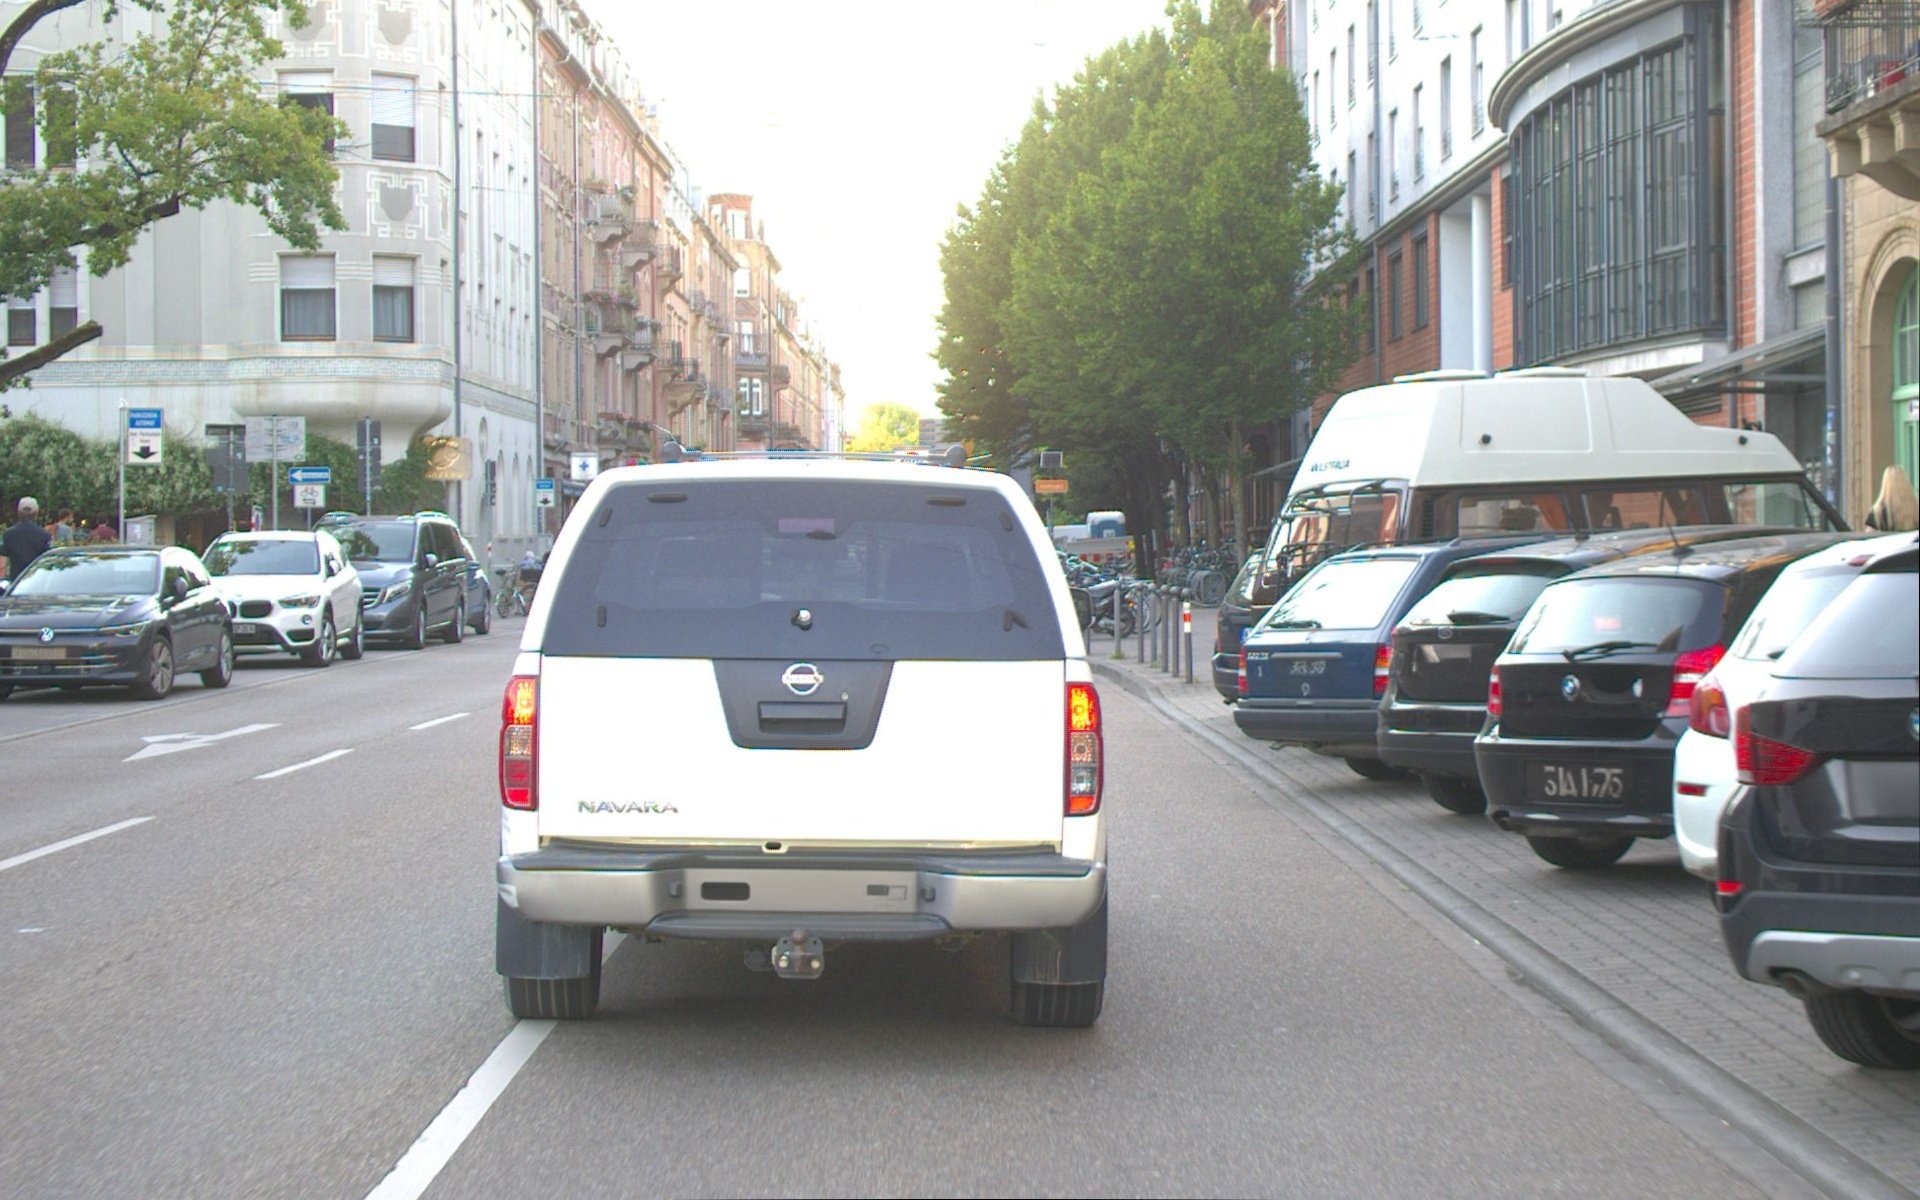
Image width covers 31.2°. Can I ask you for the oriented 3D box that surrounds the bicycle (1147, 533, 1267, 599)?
[{"bbox_3d":[5.269,-0.727,73.331,2.534,1.375,0.599,0,1,3],"label":"bicycle"}]

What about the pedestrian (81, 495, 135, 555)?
[{"bbox_3d":[-14.179,-1.248,57.221,0.706,0.977,0.837,-1,1,-2],"label":"pedestrian"}]

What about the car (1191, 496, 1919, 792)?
[{"bbox_3d":[3.778,0.211,21.026,4.384,1.481,1.844,-4,2,-30],"label":"car"}]

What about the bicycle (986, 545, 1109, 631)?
[{"bbox_3d":[1.260,-0.181,49.649,1.707,1.172,0.472,-2,1,-1],"label":"bicycle"}]

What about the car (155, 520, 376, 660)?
[{"bbox_3d":[-8.319,-0.152,41.549,1.871,1.586,4.469,0,1,-2],"label":"car"}]

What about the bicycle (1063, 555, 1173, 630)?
[{"bbox_3d":[2.302,-0.113,50.158,1.539,1.035,0.472,-2,1,-1],"label":"bicycle"}]

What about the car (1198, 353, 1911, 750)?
[{"bbox_3d":[4.171,-0.340,23.944,4.710,2.538,1.918,-1,0,-29],"label":"car"}]

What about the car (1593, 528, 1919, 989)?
[{"bbox_3d":[4.468,0.441,12.845,4.045,1.493,1.754,-3,1,-35],"label":"car"}]

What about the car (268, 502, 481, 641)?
[{"bbox_3d":[-8.204,-0.436,48.667,1.993,1.860,5.289,0,1,1],"label":"car"}]

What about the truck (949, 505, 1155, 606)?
[{"bbox_3d":[2.877,-1.370,107.102,6.320,2.966,2.264,1,-2,2],"label":"truck"}]

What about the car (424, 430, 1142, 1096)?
[{"bbox_3d":[-0.517,0.414,11.803,1.933,1.788,4.622,2,1,-1],"label":"car"}]

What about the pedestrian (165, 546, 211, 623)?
[{"bbox_3d":[-14.835,-0.297,66.071,0.701,1.464,0.784,-1,1,-1],"label":"pedestrian"}]

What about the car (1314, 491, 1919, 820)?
[{"bbox_3d":[4.132,0.252,18.297,4.108,1.540,1.795,-2,-1,-28],"label":"car"}]

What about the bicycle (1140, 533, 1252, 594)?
[{"bbox_3d":[5.367,-0.827,78.330,2.534,1.375,0.599,0,1,3],"label":"bicycle"}]

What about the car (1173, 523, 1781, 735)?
[{"bbox_3d":[3.998,0.175,26.476,4.342,1.497,1.913,-1,1,-28],"label":"car"}]

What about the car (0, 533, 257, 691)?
[{"bbox_3d":[-8.239,0.072,33.540,1.783,1.430,4.316,0,1,1],"label":"car"}]

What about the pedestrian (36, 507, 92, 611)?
[{"bbox_3d":[-14.906,-0.682,57.206,0.706,1.715,0.837,-1,1,-2],"label":"pedestrian"}]

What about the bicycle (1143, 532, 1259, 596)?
[{"bbox_3d":[5.333,-0.798,76.145,2.534,1.375,0.599,0,1,3],"label":"bicycle"}]

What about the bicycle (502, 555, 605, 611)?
[{"bbox_3d":[-8.232,-0.350,69.600,2.113,1.091,0.500,1,2,25],"label":"bicycle"}]

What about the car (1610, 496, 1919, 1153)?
[{"bbox_3d":[3.925,0.454,9.641,4.087,1.602,1.816,-3,1,-38],"label":"car"}]

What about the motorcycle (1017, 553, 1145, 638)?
[{"bbox_3d":[1.687,-0.073,47.862,1.644,1.098,0.647,-3,1,-8],"label":"motorcycle"}]

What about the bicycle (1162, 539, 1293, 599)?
[{"bbox_3d":[5.264,-0.615,67.729,2.534,1.162,0.562,0,1,3],"label":"bicycle"}]

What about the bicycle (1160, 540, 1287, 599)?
[{"bbox_3d":[5.331,-0.619,69.612,2.534,1.162,0.562,0,1,3],"label":"bicycle"}]

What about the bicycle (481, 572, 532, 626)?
[{"bbox_3d":[-9.026,-0.029,68.489,0.423,1.009,1.717,1,2,14],"label":"bicycle"}]

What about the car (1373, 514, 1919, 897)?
[{"bbox_3d":[4.022,0.355,15.362,4.022,1.427,1.868,-4,1,-34],"label":"car"}]

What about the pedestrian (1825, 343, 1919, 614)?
[{"bbox_3d":[7.422,-0.950,26.965,0.607,2.006,0.858,14,3,2],"label":"pedestrian"}]

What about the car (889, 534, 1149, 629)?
[{"bbox_3d":[0.992,-0.325,57.500,3.987,1.501,1.770,-1,1,-29],"label":"car"}]

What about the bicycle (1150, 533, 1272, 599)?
[{"bbox_3d":[5.297,-0.716,72.616,2.534,1.375,0.599,0,1,3],"label":"bicycle"}]

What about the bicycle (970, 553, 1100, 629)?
[{"bbox_3d":[1.107,-0.136,50.756,1.857,1.035,0.472,-2,1,-1],"label":"bicycle"}]

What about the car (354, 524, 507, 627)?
[{"bbox_3d":[-8.236,-0.412,53.799,1.640,1.550,4.004,0,1,2],"label":"car"}]

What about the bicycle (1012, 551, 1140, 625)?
[{"bbox_3d":[1.727,-0.180,51.406,1.857,1.035,0.402,-2,1,-1],"label":"bicycle"}]

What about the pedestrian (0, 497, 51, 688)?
[{"bbox_3d":[-9.556,-0.080,34.668,0.582,1.899,0.803,-1,1,-3],"label":"pedestrian"}]

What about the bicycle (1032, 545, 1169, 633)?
[{"bbox_3d":[1.999,-0.162,48.968,1.859,1.142,0.659,-3,1,0],"label":"bicycle"}]
